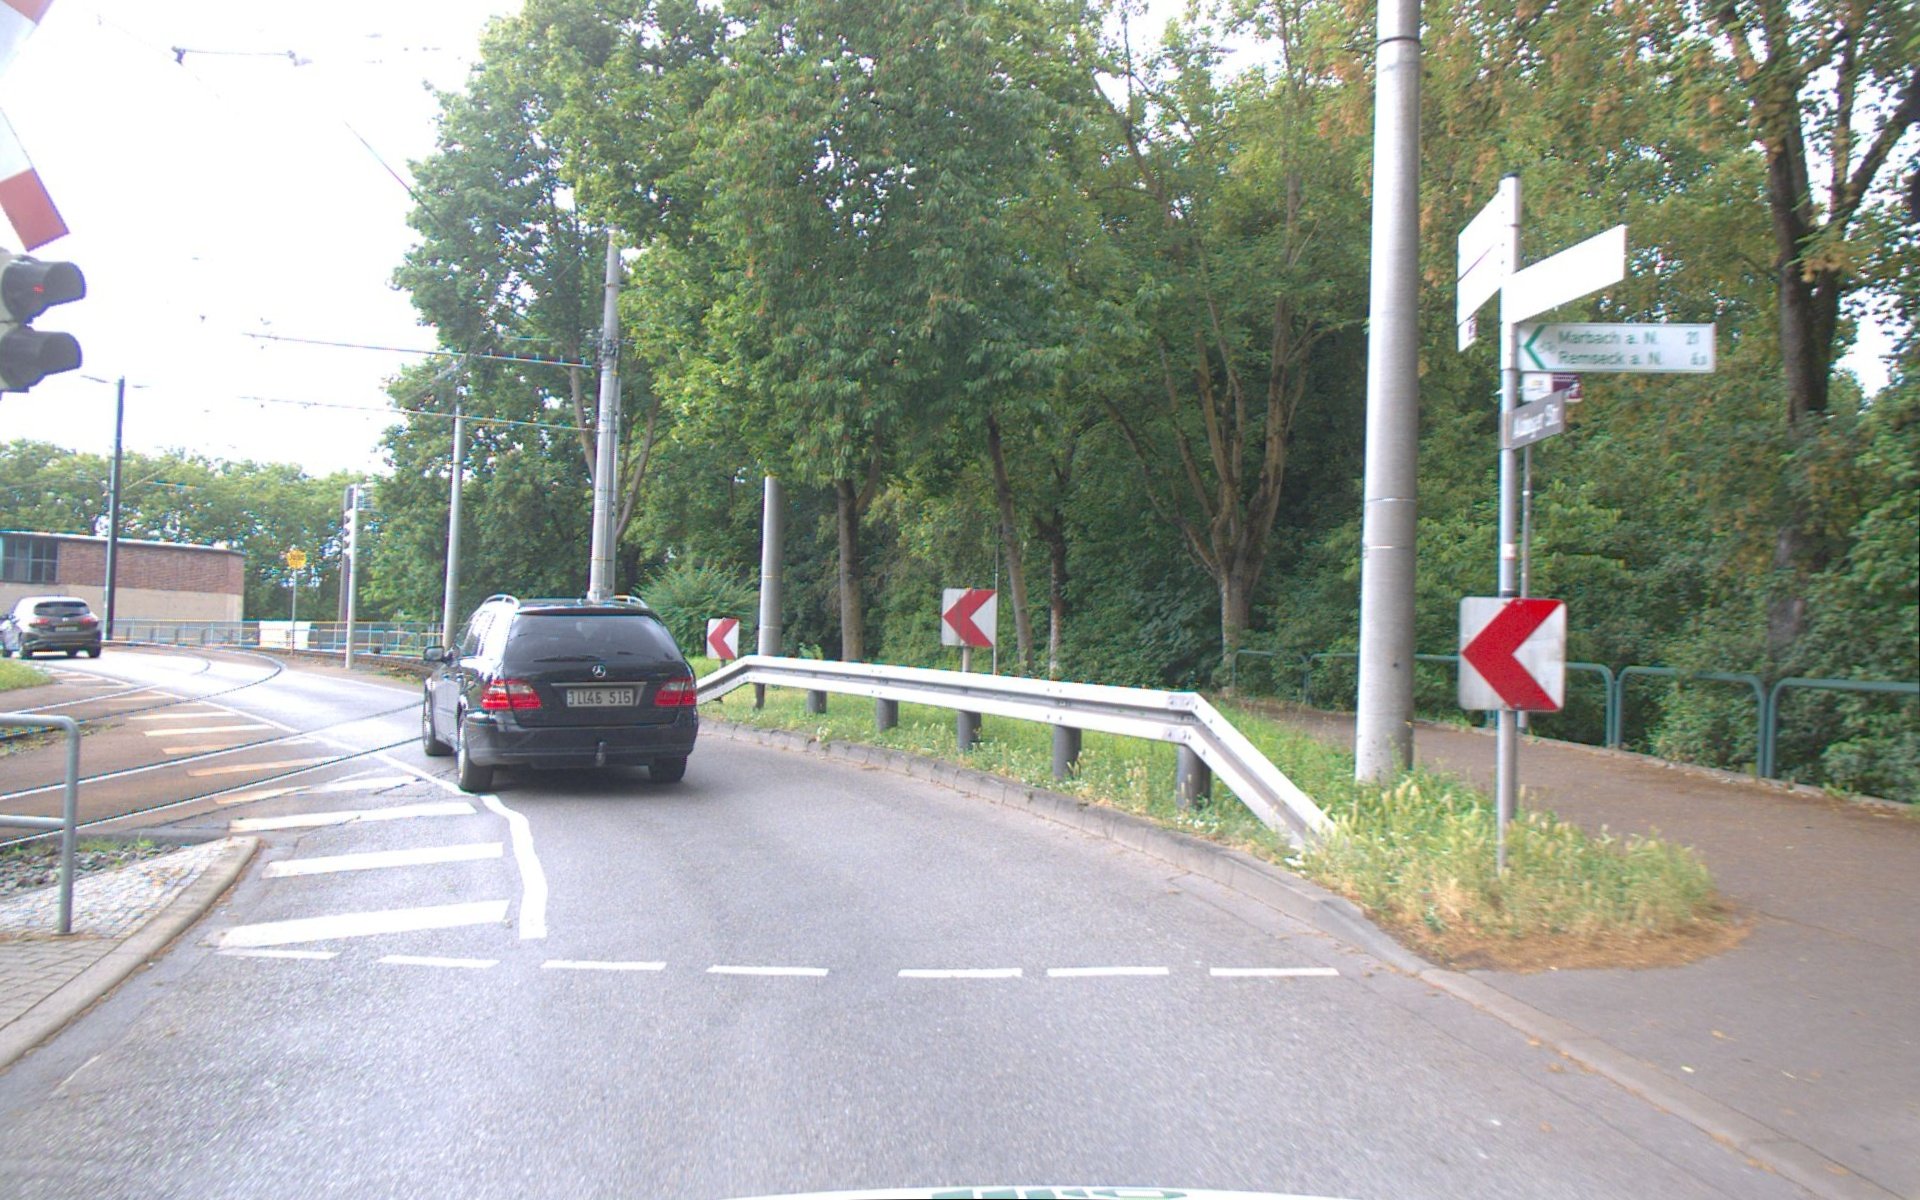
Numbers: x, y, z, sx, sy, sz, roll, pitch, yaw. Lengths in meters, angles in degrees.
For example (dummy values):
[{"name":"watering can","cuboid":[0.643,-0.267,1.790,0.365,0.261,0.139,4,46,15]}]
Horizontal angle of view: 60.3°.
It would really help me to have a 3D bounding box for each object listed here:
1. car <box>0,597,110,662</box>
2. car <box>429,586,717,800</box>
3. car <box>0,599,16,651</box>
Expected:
[{"name":"car","cuboid":[-23.324,0.723,42.217,1.763,1.583,4.170,0,0,-45]},{"name":"car","cuboid":[-3.493,0.678,14.299,1.735,1.542,4.411,0,0,-23]},{"name":"car","cuboid":[-31.521,0.763,52.090,1.985,1.592,4.916,0,1,-44]}]
